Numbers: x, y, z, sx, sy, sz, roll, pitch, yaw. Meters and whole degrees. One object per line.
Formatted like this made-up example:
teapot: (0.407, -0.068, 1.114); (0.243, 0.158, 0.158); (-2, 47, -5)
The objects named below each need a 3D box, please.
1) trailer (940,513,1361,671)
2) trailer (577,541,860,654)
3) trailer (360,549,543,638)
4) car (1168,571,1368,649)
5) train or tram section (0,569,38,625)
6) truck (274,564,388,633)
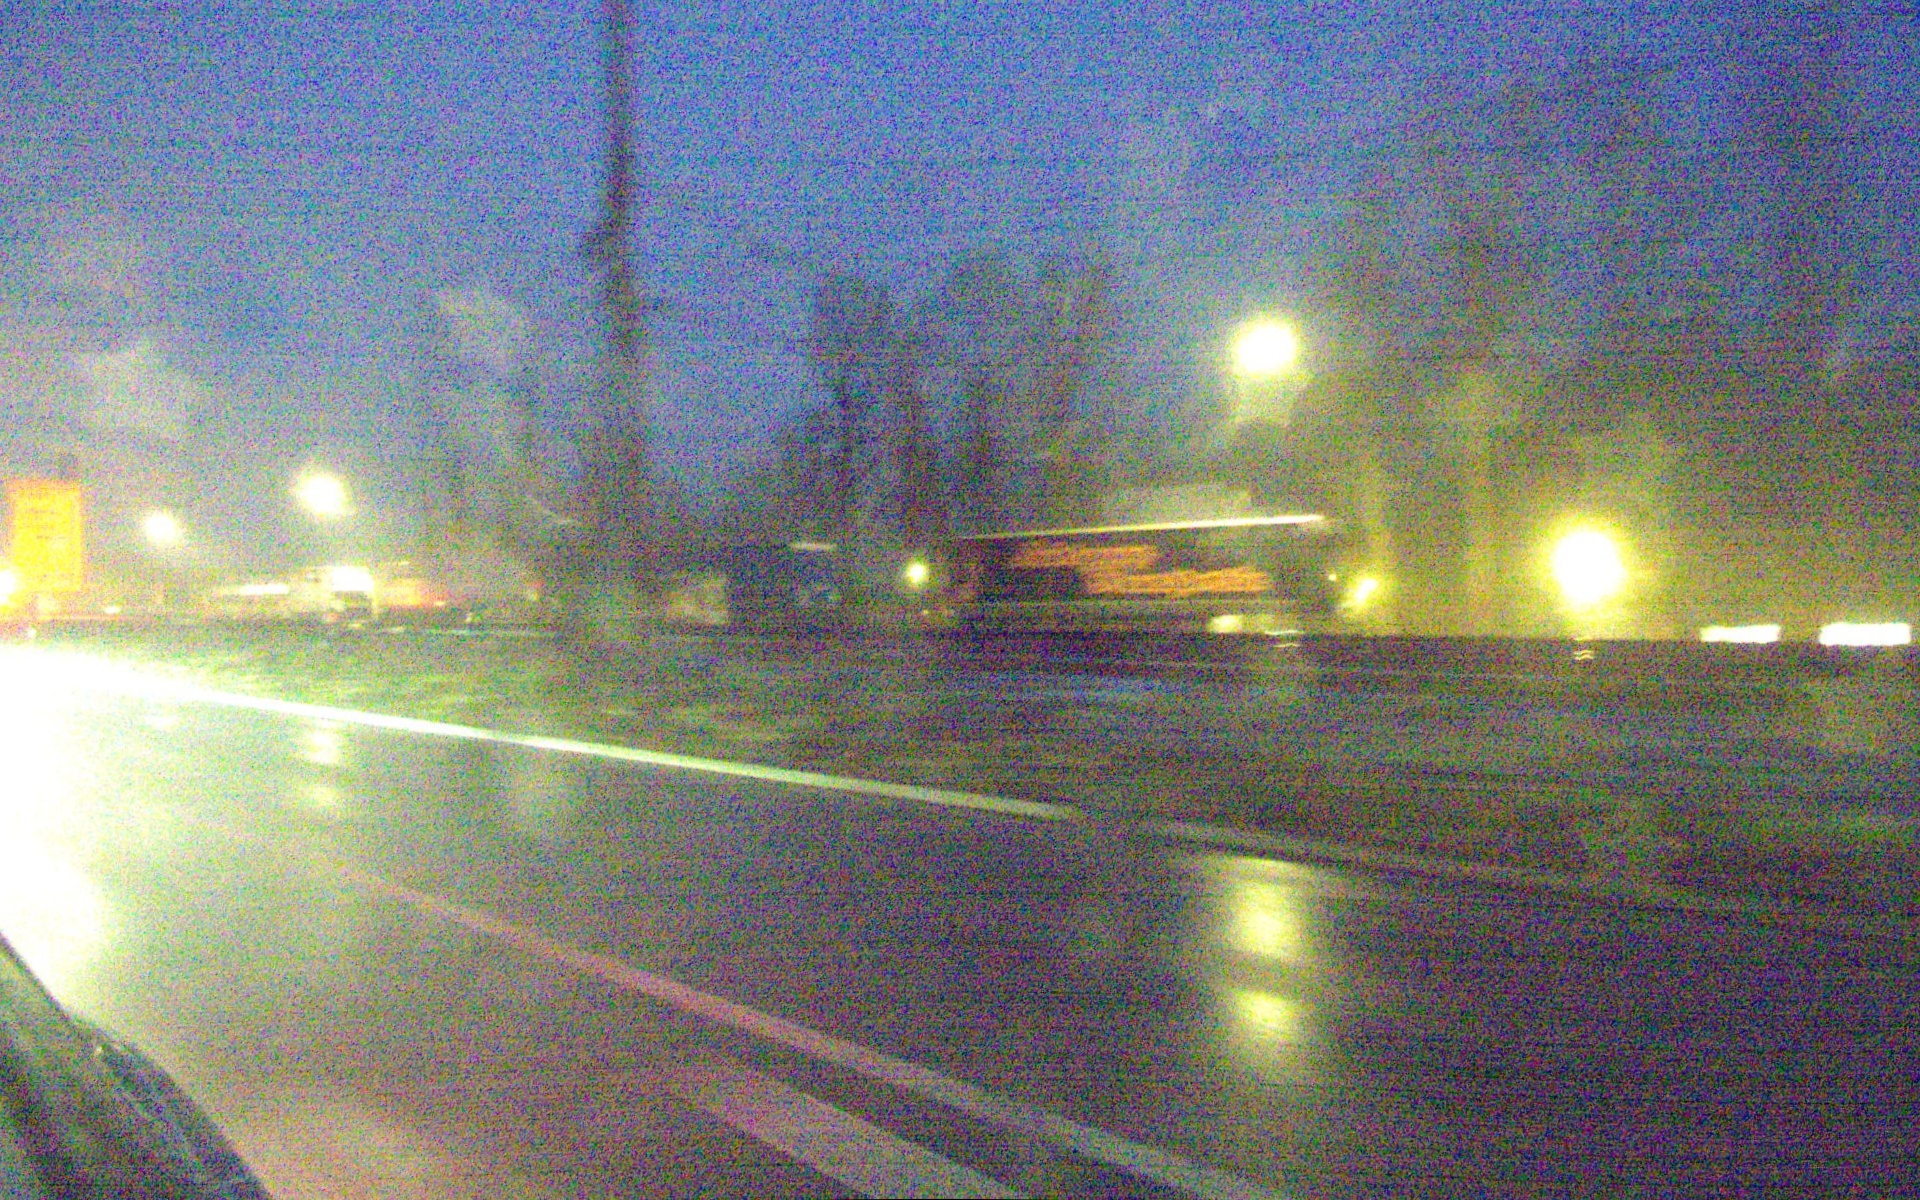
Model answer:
trailer: (6.164, -0.320, 35.559); (14.222, 4.643, 3.936); (0, 3, 37)
trailer: (-11.888, -0.177, 48.098); (15.487, 4.643, 3.936); (0, 3, 37)
trailer: (-32.464, -0.435, 64.112); (14.808, 5.049, 3.936); (0, 3, 37)
car: (7.293, 0.242, 24.137); (4.209, 1.706, 1.771); (-2, 0, 36)
train or tram section: (-80.600, -0.192, 81.373); (37.083, 3.842, 2.672); (0, 3, 37)
truck: (-46.240, -0.132, 74.234); (10.194, 4.643, 3.409); (0, 3, 37)
